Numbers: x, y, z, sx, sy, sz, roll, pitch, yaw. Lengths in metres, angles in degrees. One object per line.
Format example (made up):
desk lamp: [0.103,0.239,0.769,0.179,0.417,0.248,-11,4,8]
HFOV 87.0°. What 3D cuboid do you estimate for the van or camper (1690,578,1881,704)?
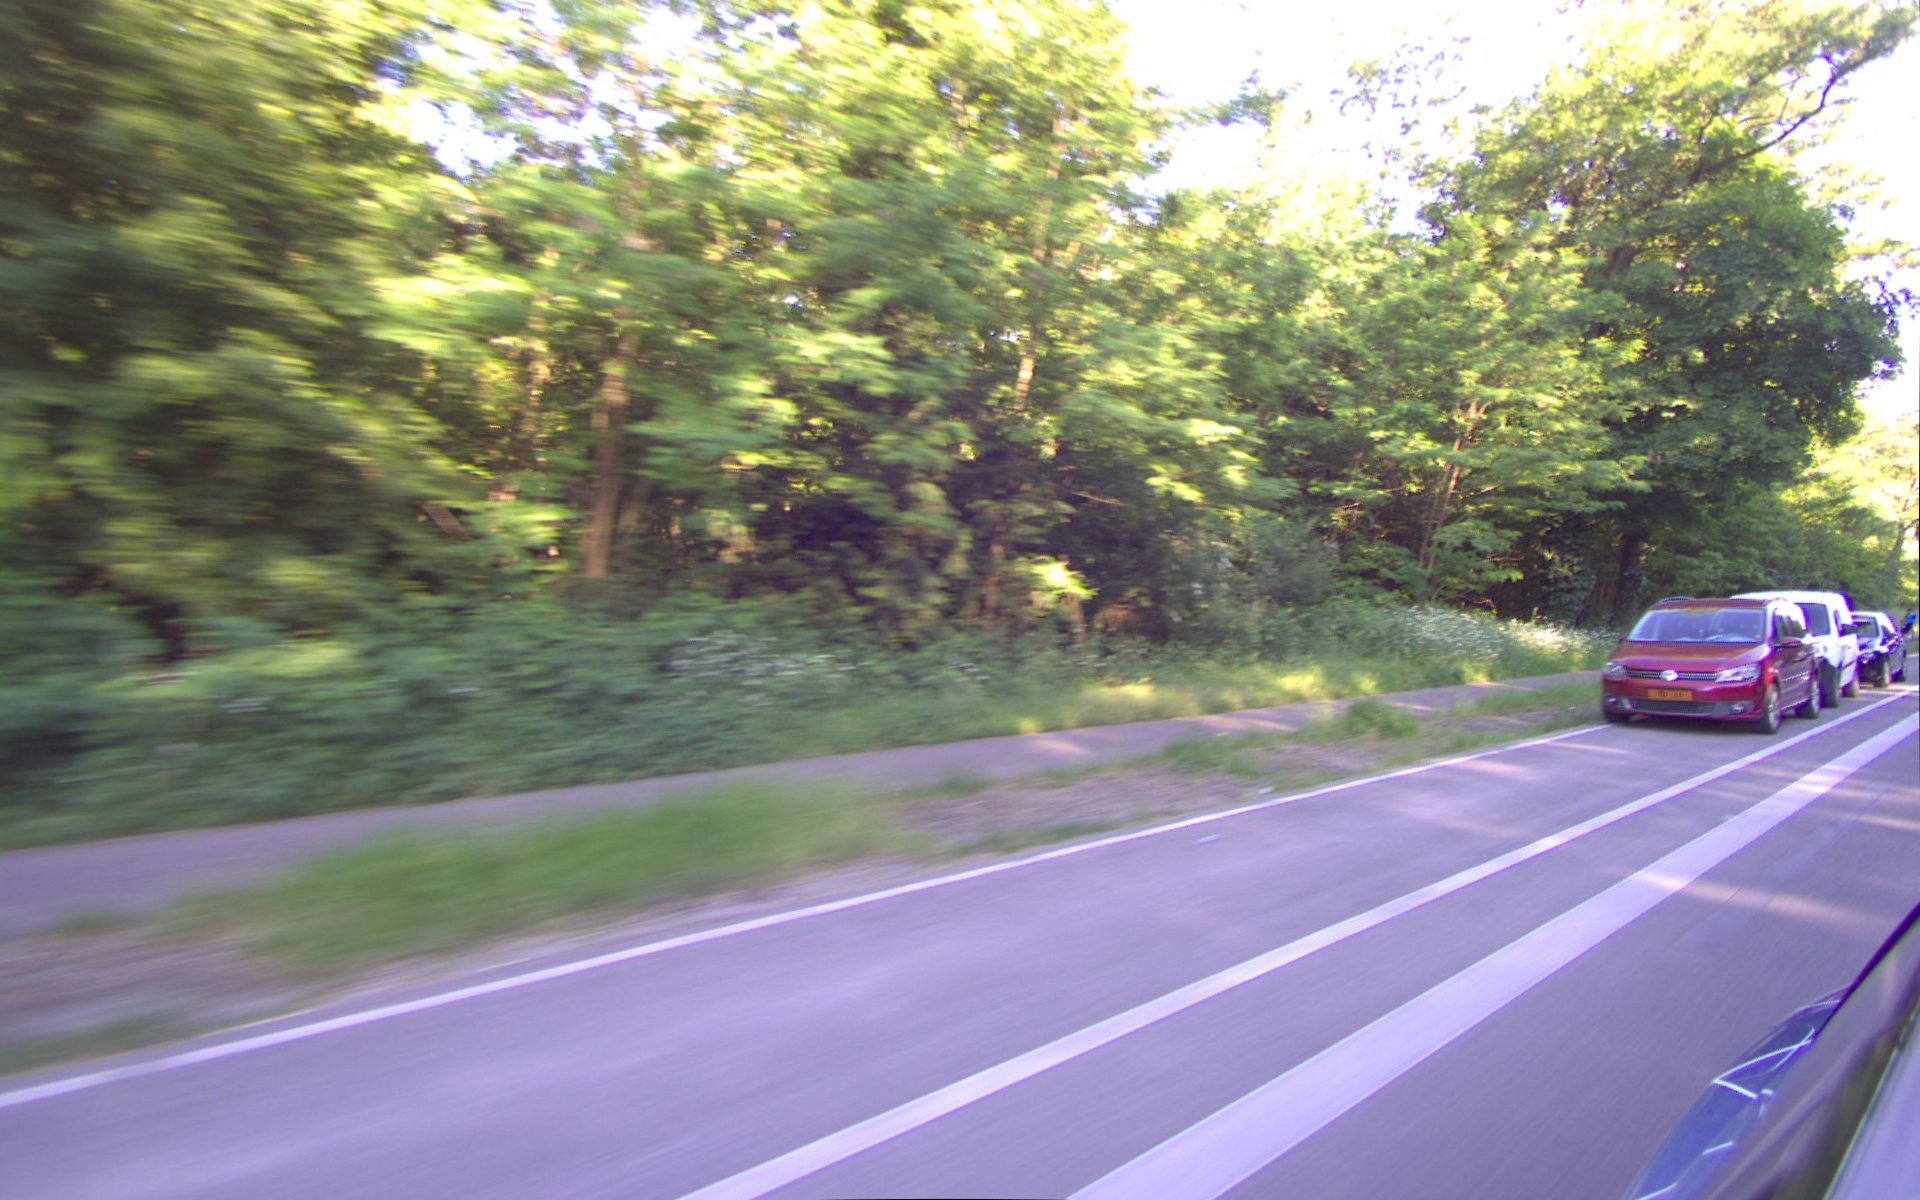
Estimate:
van or camper: [13.913,0.597,16.970,4.307,1.838,1.953,0,0,-43]

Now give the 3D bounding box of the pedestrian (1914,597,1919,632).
pedestrian: [54.934,0.826,57.598,0.903,1.942,0.769,1,0,-41]

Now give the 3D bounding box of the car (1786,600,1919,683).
car: [18.506,0.775,20.798,4.076,1.543,1.693,0,-1,-41]

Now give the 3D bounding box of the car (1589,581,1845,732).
car: [10.112,0.646,13.402,4.262,1.682,1.837,0,-1,-41]
